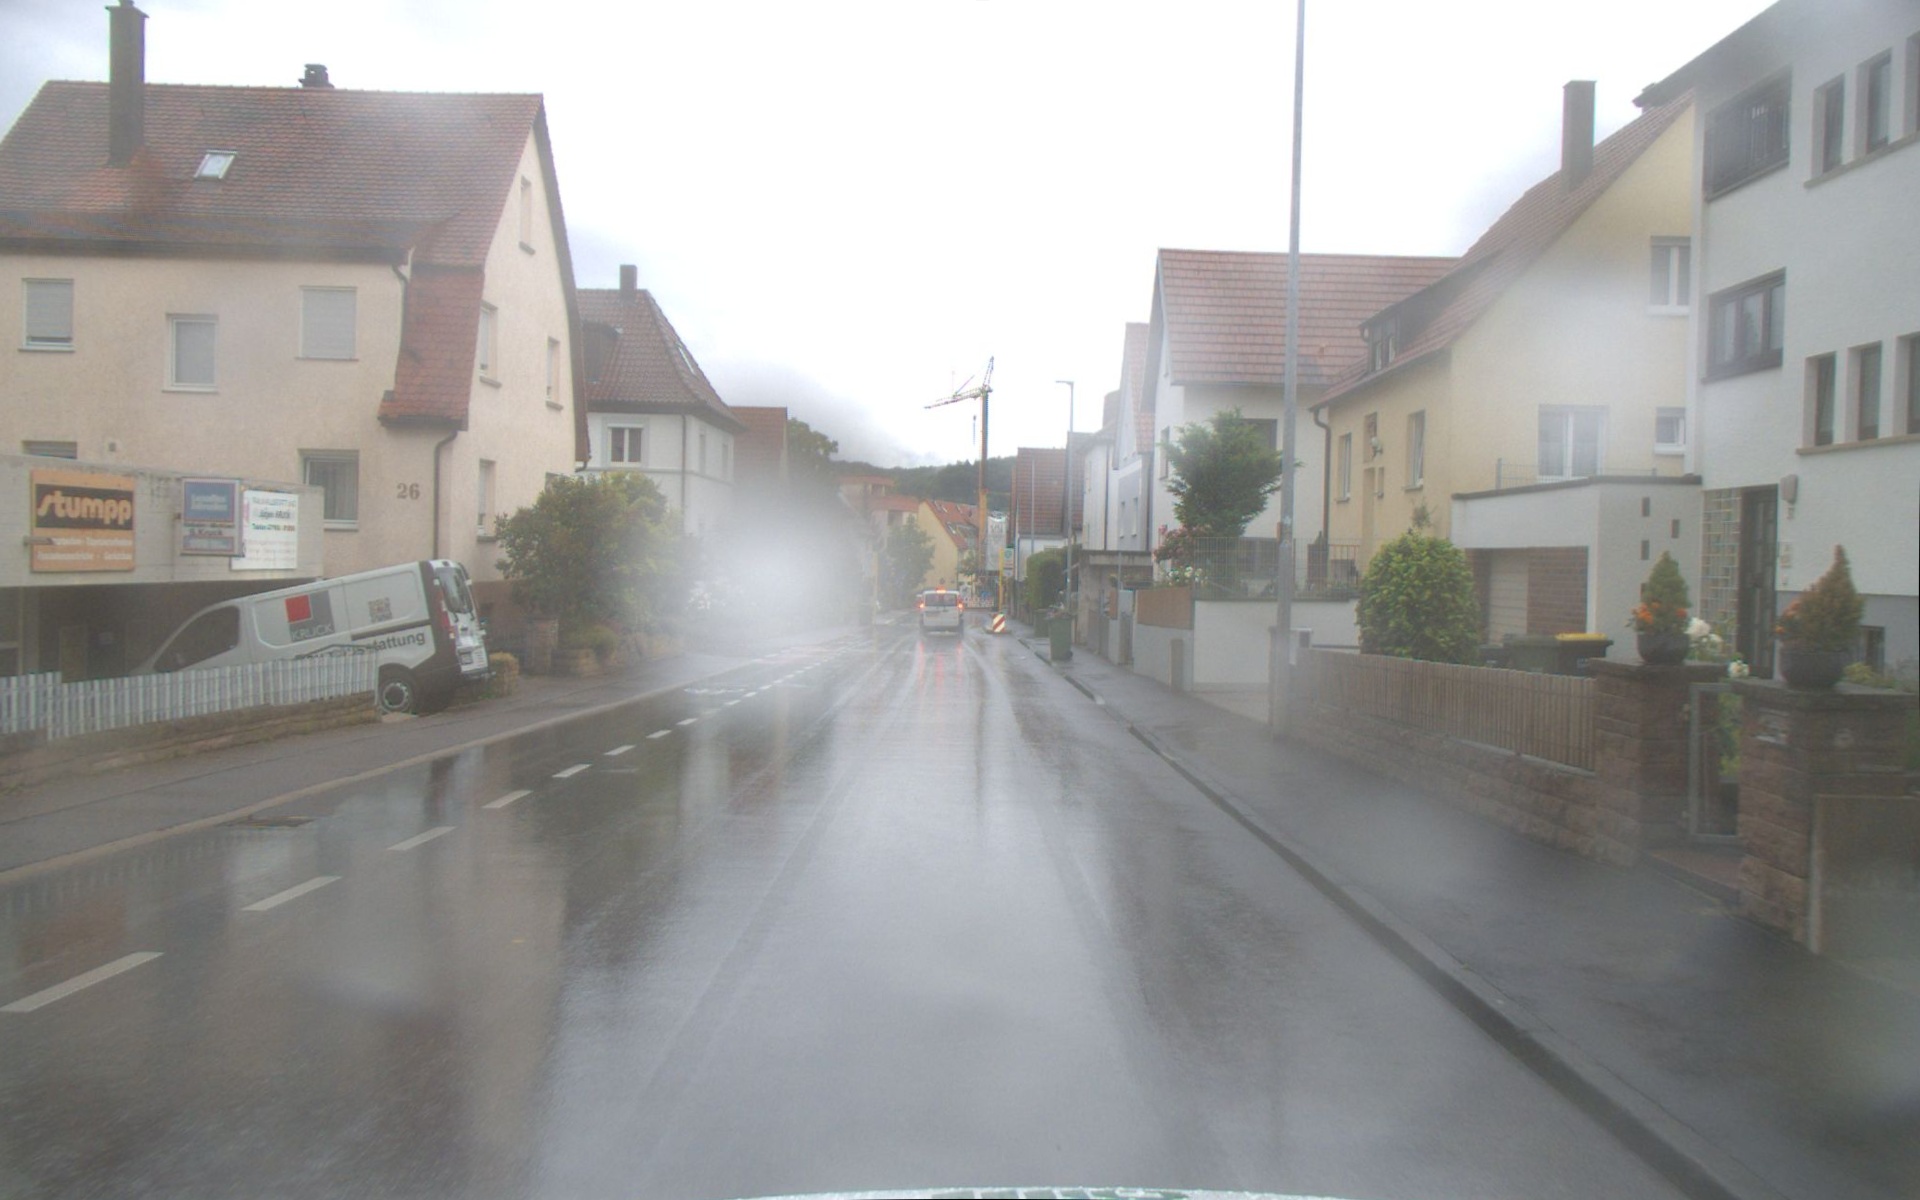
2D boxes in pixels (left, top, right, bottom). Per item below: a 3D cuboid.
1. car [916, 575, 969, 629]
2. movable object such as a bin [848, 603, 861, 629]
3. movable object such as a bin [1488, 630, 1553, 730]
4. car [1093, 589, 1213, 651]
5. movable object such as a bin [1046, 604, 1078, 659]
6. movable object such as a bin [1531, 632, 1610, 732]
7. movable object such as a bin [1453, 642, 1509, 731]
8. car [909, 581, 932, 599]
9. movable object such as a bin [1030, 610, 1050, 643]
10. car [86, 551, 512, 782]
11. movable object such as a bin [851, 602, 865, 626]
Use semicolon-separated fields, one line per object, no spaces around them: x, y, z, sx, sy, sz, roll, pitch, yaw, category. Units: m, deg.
-0.706;0.039;69.373;2.074;1.920;4.503;3;3;0;car
-5.724;0.886;89.734;0.669;1.345;0.639;2;3;-5;movable object such as a bin
6.564;0.930;19.382;0.487;1.091;0.628;2;3;0;movable object such as a bin
5.691;0.585;49.066;3.305;1.590;1.515;3;3;-1;car
2.531;0.766;41.138;0.730;1.301;0.882;1;3;0;movable object such as a bin
7.150;0.953;19.393;0.637;1.091;0.628;3;3;-1;movable object such as a bin
6.085;1.004;19.336;0.462;0.978;0.442;2;3;-1;movable object such as a bin
-3.946;-1.019;165.078;1.803;1.605;4.293;3;3;5;car
3.299;1.096;68.345;0.769;1.299;0.714;3;3;4;movable object such as a bin
-8.602;0.802;21.885;4.468;2.045;2.160;-11;3;-1;car
-5.588;0.764;90.497;0.669;1.244;0.639;2;3;-5;movable object such as a bin
